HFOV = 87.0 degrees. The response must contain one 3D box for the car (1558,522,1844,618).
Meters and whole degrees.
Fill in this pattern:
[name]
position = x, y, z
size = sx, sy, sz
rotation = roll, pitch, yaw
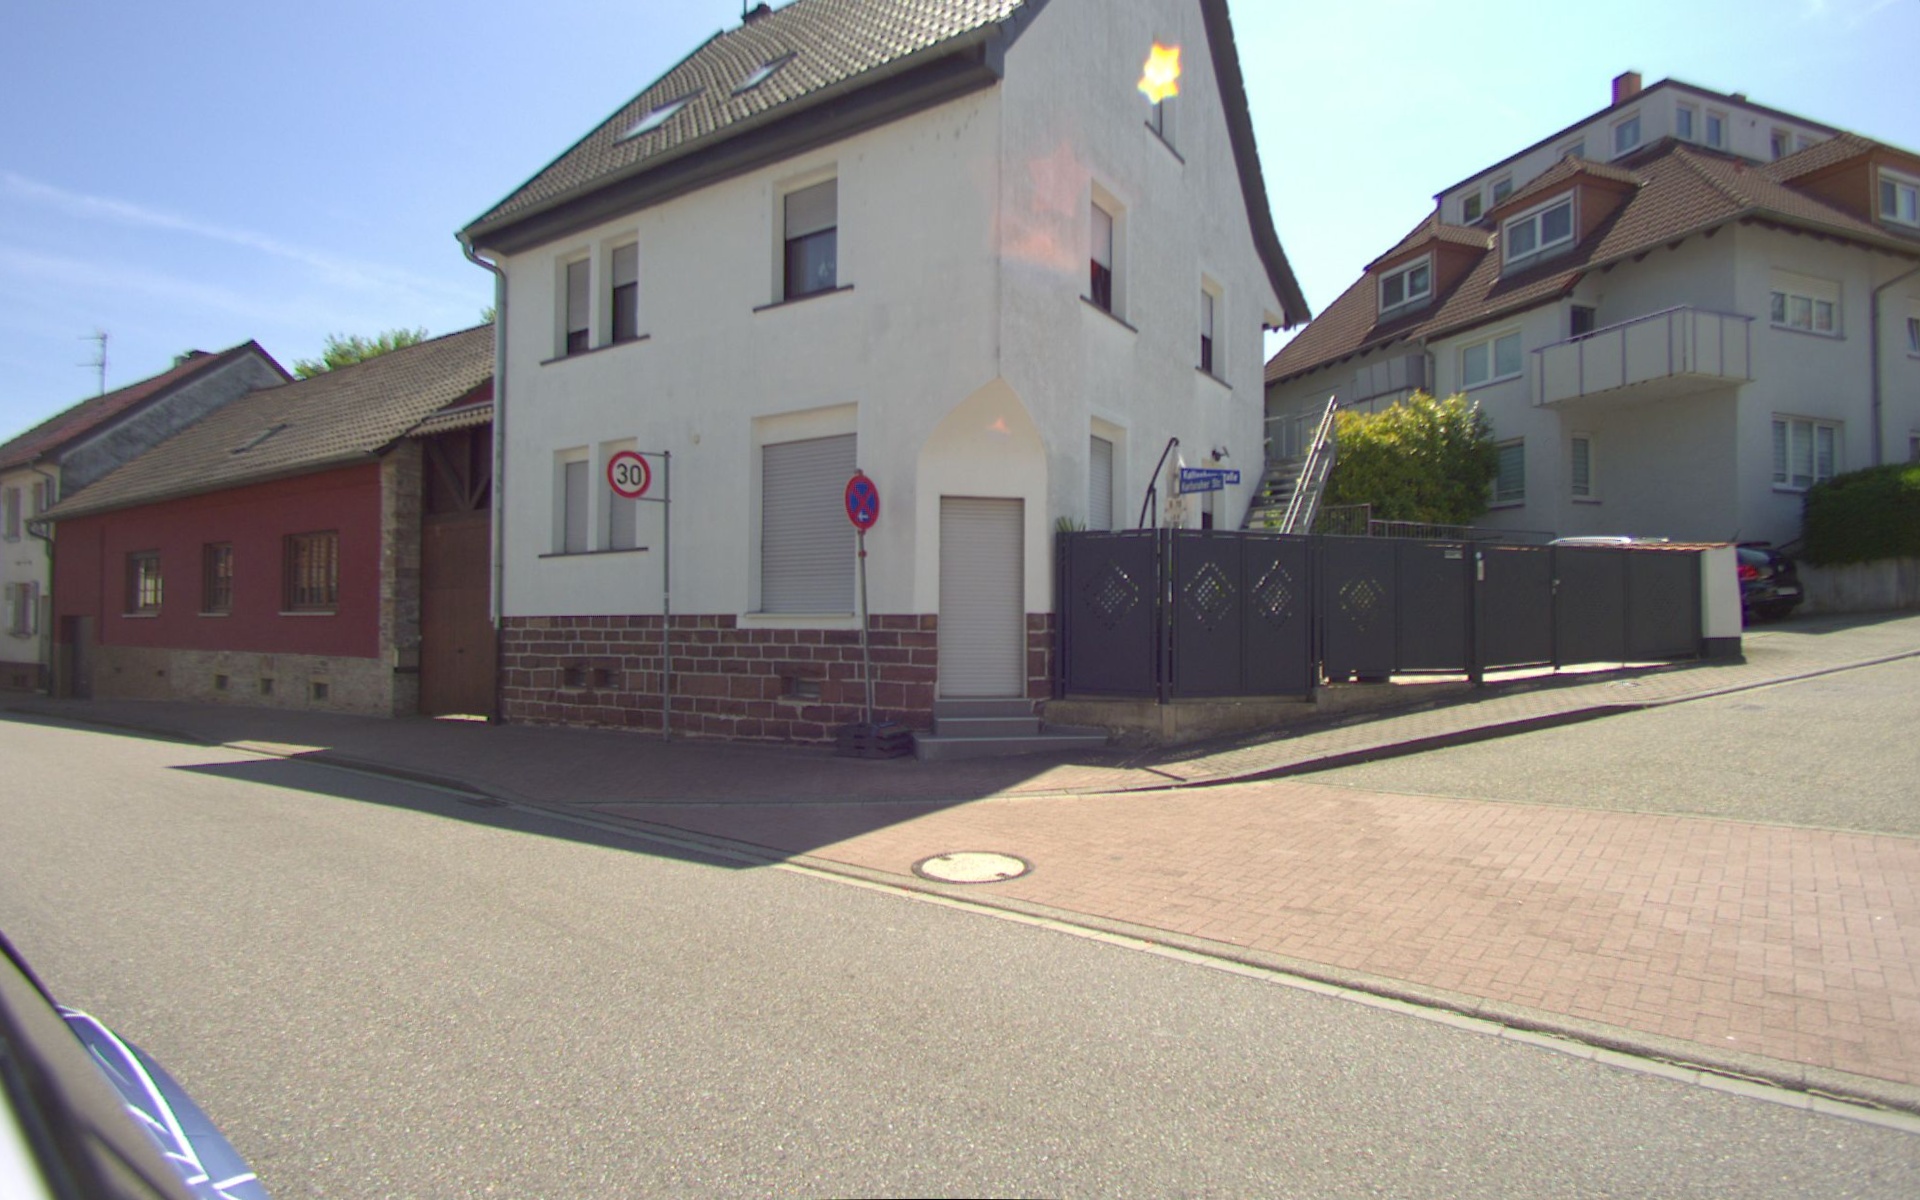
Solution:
[car]
position = 12.994, -0.499, 18.043
size = 1.757, 1.477, 3.782
rotation = -3, 1, -16
